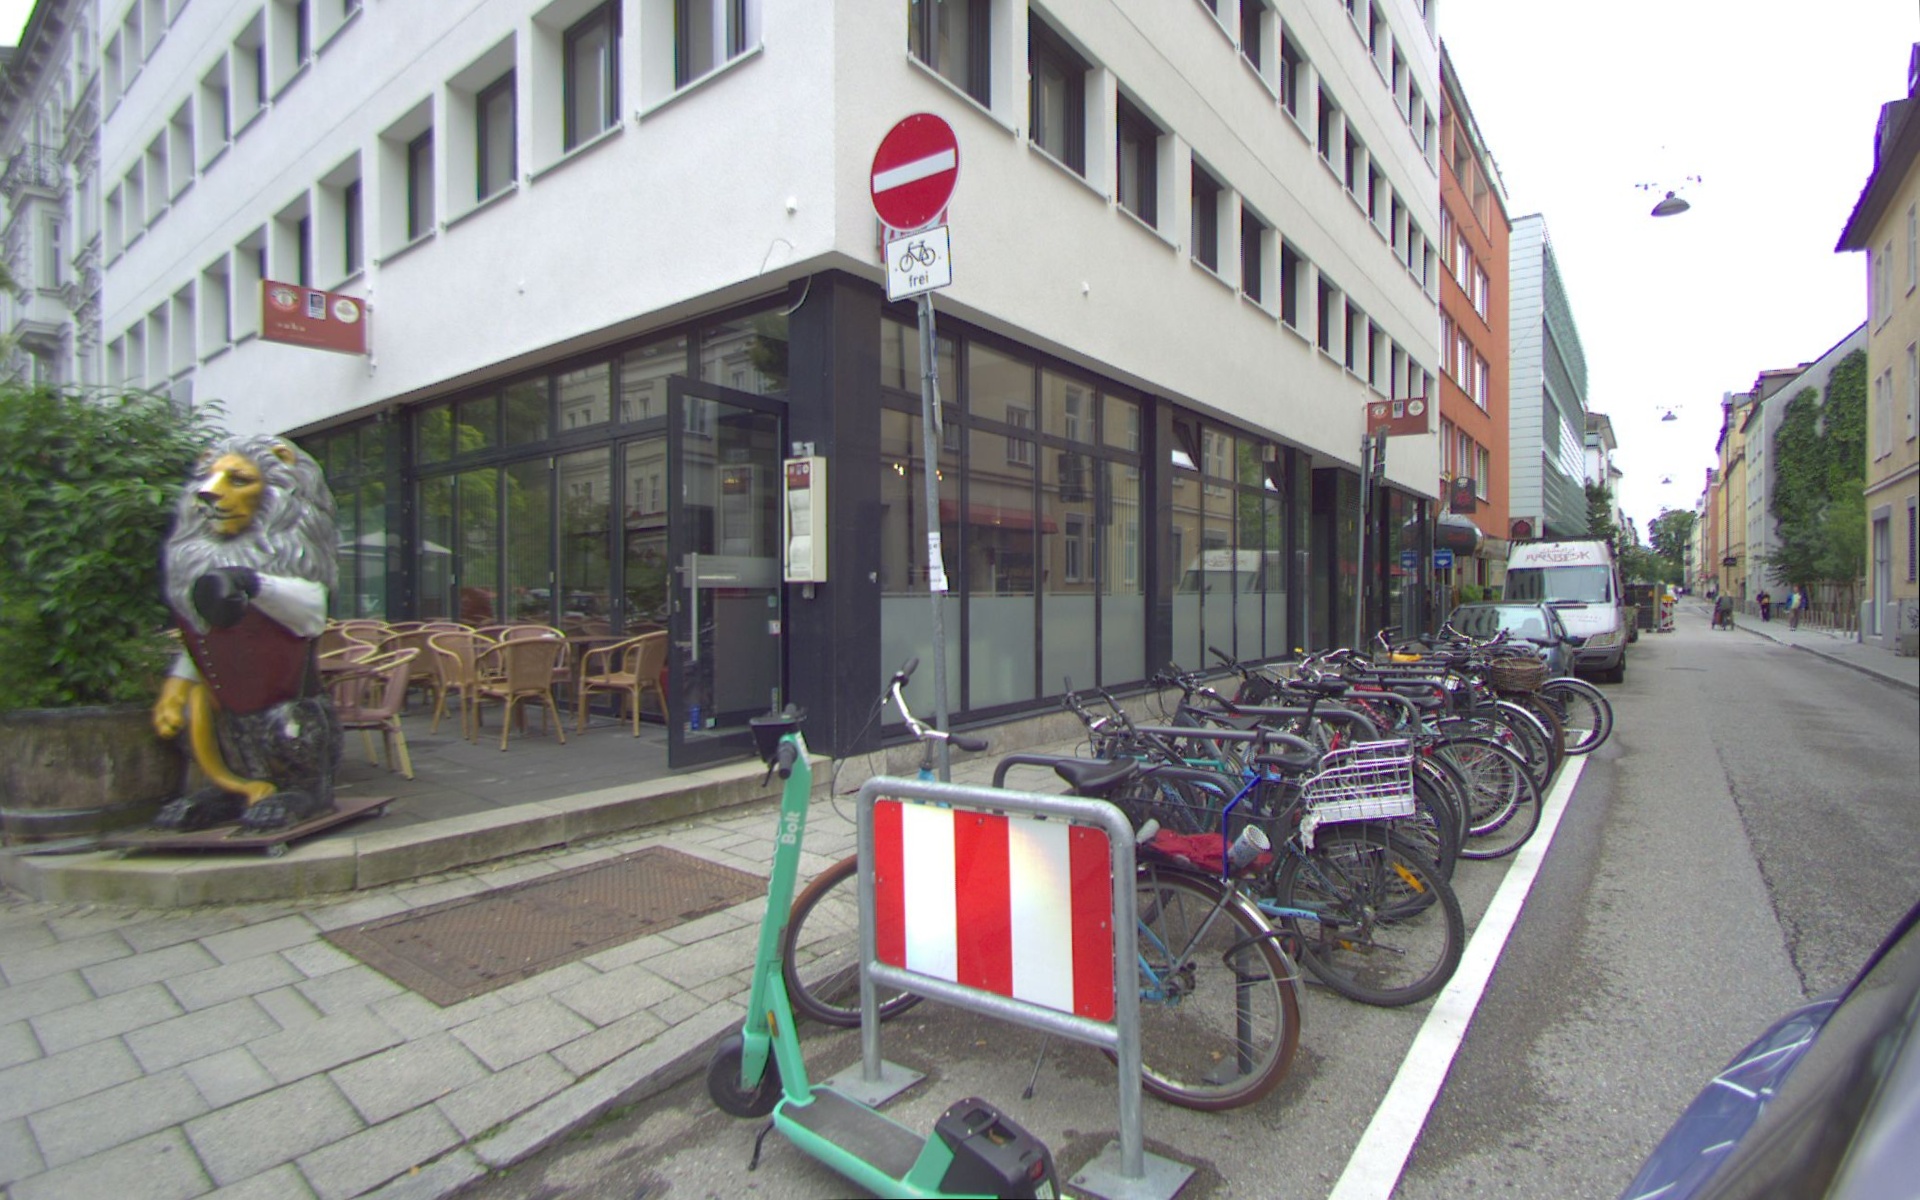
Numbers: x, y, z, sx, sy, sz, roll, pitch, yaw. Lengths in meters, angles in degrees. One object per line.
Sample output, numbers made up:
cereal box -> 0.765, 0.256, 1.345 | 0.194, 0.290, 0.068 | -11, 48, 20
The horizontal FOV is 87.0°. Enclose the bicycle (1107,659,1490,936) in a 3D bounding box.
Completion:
bicycle -> 1.612, 0.878, 4.970 | 1.733, 1.093, 0.447 | 0, -1, 33

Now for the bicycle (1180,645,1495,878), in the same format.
bicycle -> 2.055, 0.827, 5.623 | 1.606, 1.093, 0.373 | 0, -1, 33

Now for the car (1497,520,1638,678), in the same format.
car -> 11.685, -0.020, 19.245 | 1.913, 2.538, 5.923 | -1, 0, 34

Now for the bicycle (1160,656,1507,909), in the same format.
bicycle -> 1.892, 0.873, 5.271 | 1.667, 1.093, 0.332 | 0, -1, 33

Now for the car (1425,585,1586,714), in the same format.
car -> 7.395, 0.552, 13.573 | 1.574, 1.482, 3.508 | 0, 0, 34

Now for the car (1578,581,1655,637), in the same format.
car -> 21.584, 0.265, 33.209 | 1.819, 1.732, 4.331 | -1, 0, 37

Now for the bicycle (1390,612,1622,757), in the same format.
bicycle -> 5.031, 0.732, 9.394 | 1.867, 1.219, 0.482 | 0, -1, 35

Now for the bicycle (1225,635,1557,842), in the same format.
bicycle -> 2.620, 0.788, 6.285 | 1.866, 1.093, 0.397 | 0, -1, 33

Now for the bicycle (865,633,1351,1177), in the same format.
bicycle -> 0.390, 0.772, 3.119 | 1.453, 1.301, 0.439 | 0, 0, 38

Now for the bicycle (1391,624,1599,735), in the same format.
bicycle -> 5.603, 0.815, 10.671 | 1.866, 1.094, 0.482 | -2, -2, 34

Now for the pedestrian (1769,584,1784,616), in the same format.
pedestrian -> 43.567, -0.005, 54.030 | 0.550, 1.680, 0.985 | 0, 0, 35

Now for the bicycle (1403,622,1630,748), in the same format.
bicycle -> 5.348, 0.782, 9.797 | 1.866, 1.122, 0.482 | -2, -2, 34

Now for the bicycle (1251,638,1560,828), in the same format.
bicycle -> 2.984, 0.837, 6.872 | 1.866, 1.065, 0.558 | 0, 2, 33

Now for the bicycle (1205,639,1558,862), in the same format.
bicycle -> 2.400, 0.803, 5.908 | 1.866, 1.093, 0.403 | 0, -1, 33

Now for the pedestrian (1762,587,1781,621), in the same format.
pedestrian -> 45.041, 0.210, 56.187 | 0.773, 1.860, 0.979 | 0, 0, 35

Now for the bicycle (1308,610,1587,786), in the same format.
bicycle -> 3.740, 0.693, 7.843 | 1.886, 1.184, 0.559 | 1, 0, 34

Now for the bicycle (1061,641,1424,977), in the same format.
bicycle -> 1.177, 0.807, 4.330 | 1.442, 1.223, 0.391 | 0, 0, 29

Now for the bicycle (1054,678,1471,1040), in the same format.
bicycle -> 1.112, 0.878, 3.822 | 1.442, 1.083, 0.459 | 0, 0, 29

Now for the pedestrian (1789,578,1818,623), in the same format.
pedestrian -> 35.636, 0.031, 42.754 | 0.856, 1.868, 0.961 | -1, -1, 37

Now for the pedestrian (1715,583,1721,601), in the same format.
pedestrian -> 78.318, -0.834, 104.560 | 0.490, 1.847, 0.546 | 0, 0, 35

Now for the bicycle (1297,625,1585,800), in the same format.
bicycle -> 3.461, 0.760, 7.382 | 1.866, 1.109, 0.435 | 0, -1, 33

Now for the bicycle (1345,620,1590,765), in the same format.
bicycle -> 4.465, 0.776, 8.976 | 1.866, 1.172, 0.558 | -2, -2, 34

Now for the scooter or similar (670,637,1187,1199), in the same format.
scooter or similar -> -0.144, 0.731, 2.536 | 1.350, 1.225, 0.412 | 0, 0, 38

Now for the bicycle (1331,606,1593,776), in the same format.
bicycle -> 4.104, 0.682, 8.344 | 1.867, 1.219, 0.572 | 1, 1, 34

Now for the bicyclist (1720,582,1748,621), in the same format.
bicyclist -> 35.136, 0.056, 45.947 | 0.924, 1.742, 1.085 | 1, 1, 36

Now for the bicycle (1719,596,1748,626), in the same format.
bicycle -> 35.372, 0.466, 46.314 | 0.929, 1.273, 2.383 | 1, 2, 35
